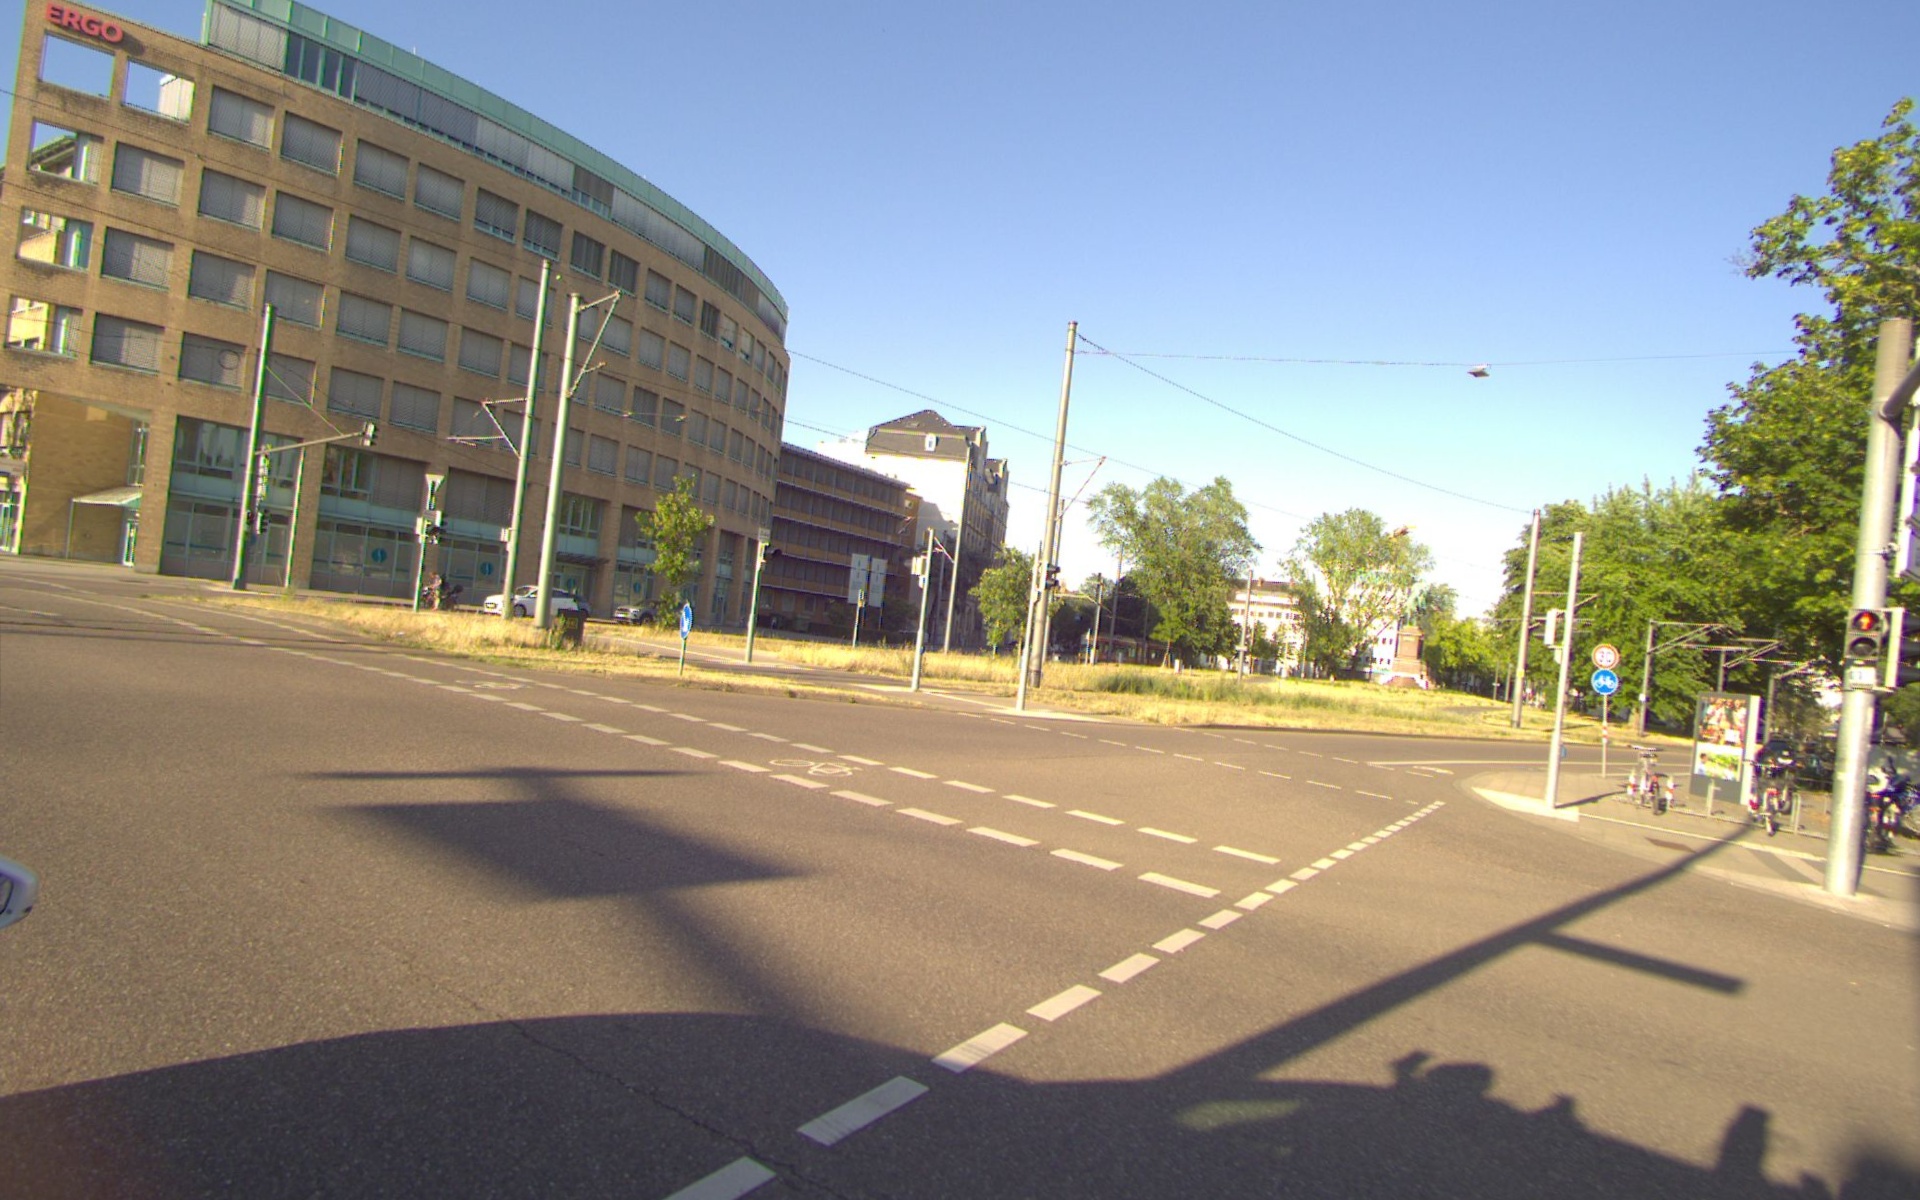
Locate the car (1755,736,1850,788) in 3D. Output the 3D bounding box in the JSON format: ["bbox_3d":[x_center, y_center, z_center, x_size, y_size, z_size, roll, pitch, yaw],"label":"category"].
[{"bbox_3d":[29.099,5.592,34.731,3.605,1.444,1.625,8,-2,-36],"label":"car"}]

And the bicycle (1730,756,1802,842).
[{"bbox_3d":[13.625,3.332,17.054,0.584,1.128,2.002,7,0,31],"label":"bicycle"}]

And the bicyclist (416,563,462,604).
[{"bbox_3d":[-22.548,-0.700,43.540,1.135,1.590,1.225,6,-1,32],"label":"bicyclist"}]

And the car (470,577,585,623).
[{"bbox_3d":[-18.951,0.048,44.269,1.962,1.509,4.170,5,-2,31],"label":"car"}]

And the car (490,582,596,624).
[{"bbox_3d":[-20.939,0.167,50.671,1.955,1.555,4.487,5,-2,34],"label":"car"}]

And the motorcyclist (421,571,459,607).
[{"bbox_3d":[-23.736,-0.506,45.946,1.015,1.452,1.067,6,-1,32],"label":"motorcyclist"}]

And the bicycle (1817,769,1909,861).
[{"bbox_3d":[14.677,3.453,16.400,0.584,1.128,2.057,7,0,30],"label":"bicycle"}]

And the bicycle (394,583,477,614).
[{"bbox_3d":[-22.653,-0.043,43.501,1.135,1.012,2.965,6,-2,31],"label":"bicycle"}]

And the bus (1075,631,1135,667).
[{"bbox_3d":[16.179,5.552,111.661,2.370,3.247,11.103,5,-2,30],"label":"bus"}]

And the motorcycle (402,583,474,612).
[{"bbox_3d":[-23.787,-0.104,45.930,1.015,0.975,2.722,5,-2,32],"label":"motorcycle"}]

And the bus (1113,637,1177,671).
[{"bbox_3d":[22.280,6.570,120.581,2.319,3.247,11.040,5,-2,39],"label":"bus"}]

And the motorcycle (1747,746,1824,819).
[{"bbox_3d":[17.320,3.789,21.097,2.043,1.323,0.880,7,-2,-42],"label":"motorcycle"}]

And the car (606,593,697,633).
[{"bbox_3d":[-15.318,0.680,50.119,1.791,1.509,4.058,5,-2,32],"label":"car"}]

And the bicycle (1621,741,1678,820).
[{"bbox_3d":[12.260,3.176,17.925,0.584,1.129,1.974,7,0,30],"label":"bicycle"}]

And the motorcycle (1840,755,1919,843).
[{"bbox_3d":[17.641,3.718,18.283,2.224,1.408,0.845,6,-2,21],"label":"motorcycle"}]

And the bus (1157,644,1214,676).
[{"bbox_3d":[29.077,7.787,129.186,2.319,3.247,11.040,5,-2,39],"label":"bus"}]
